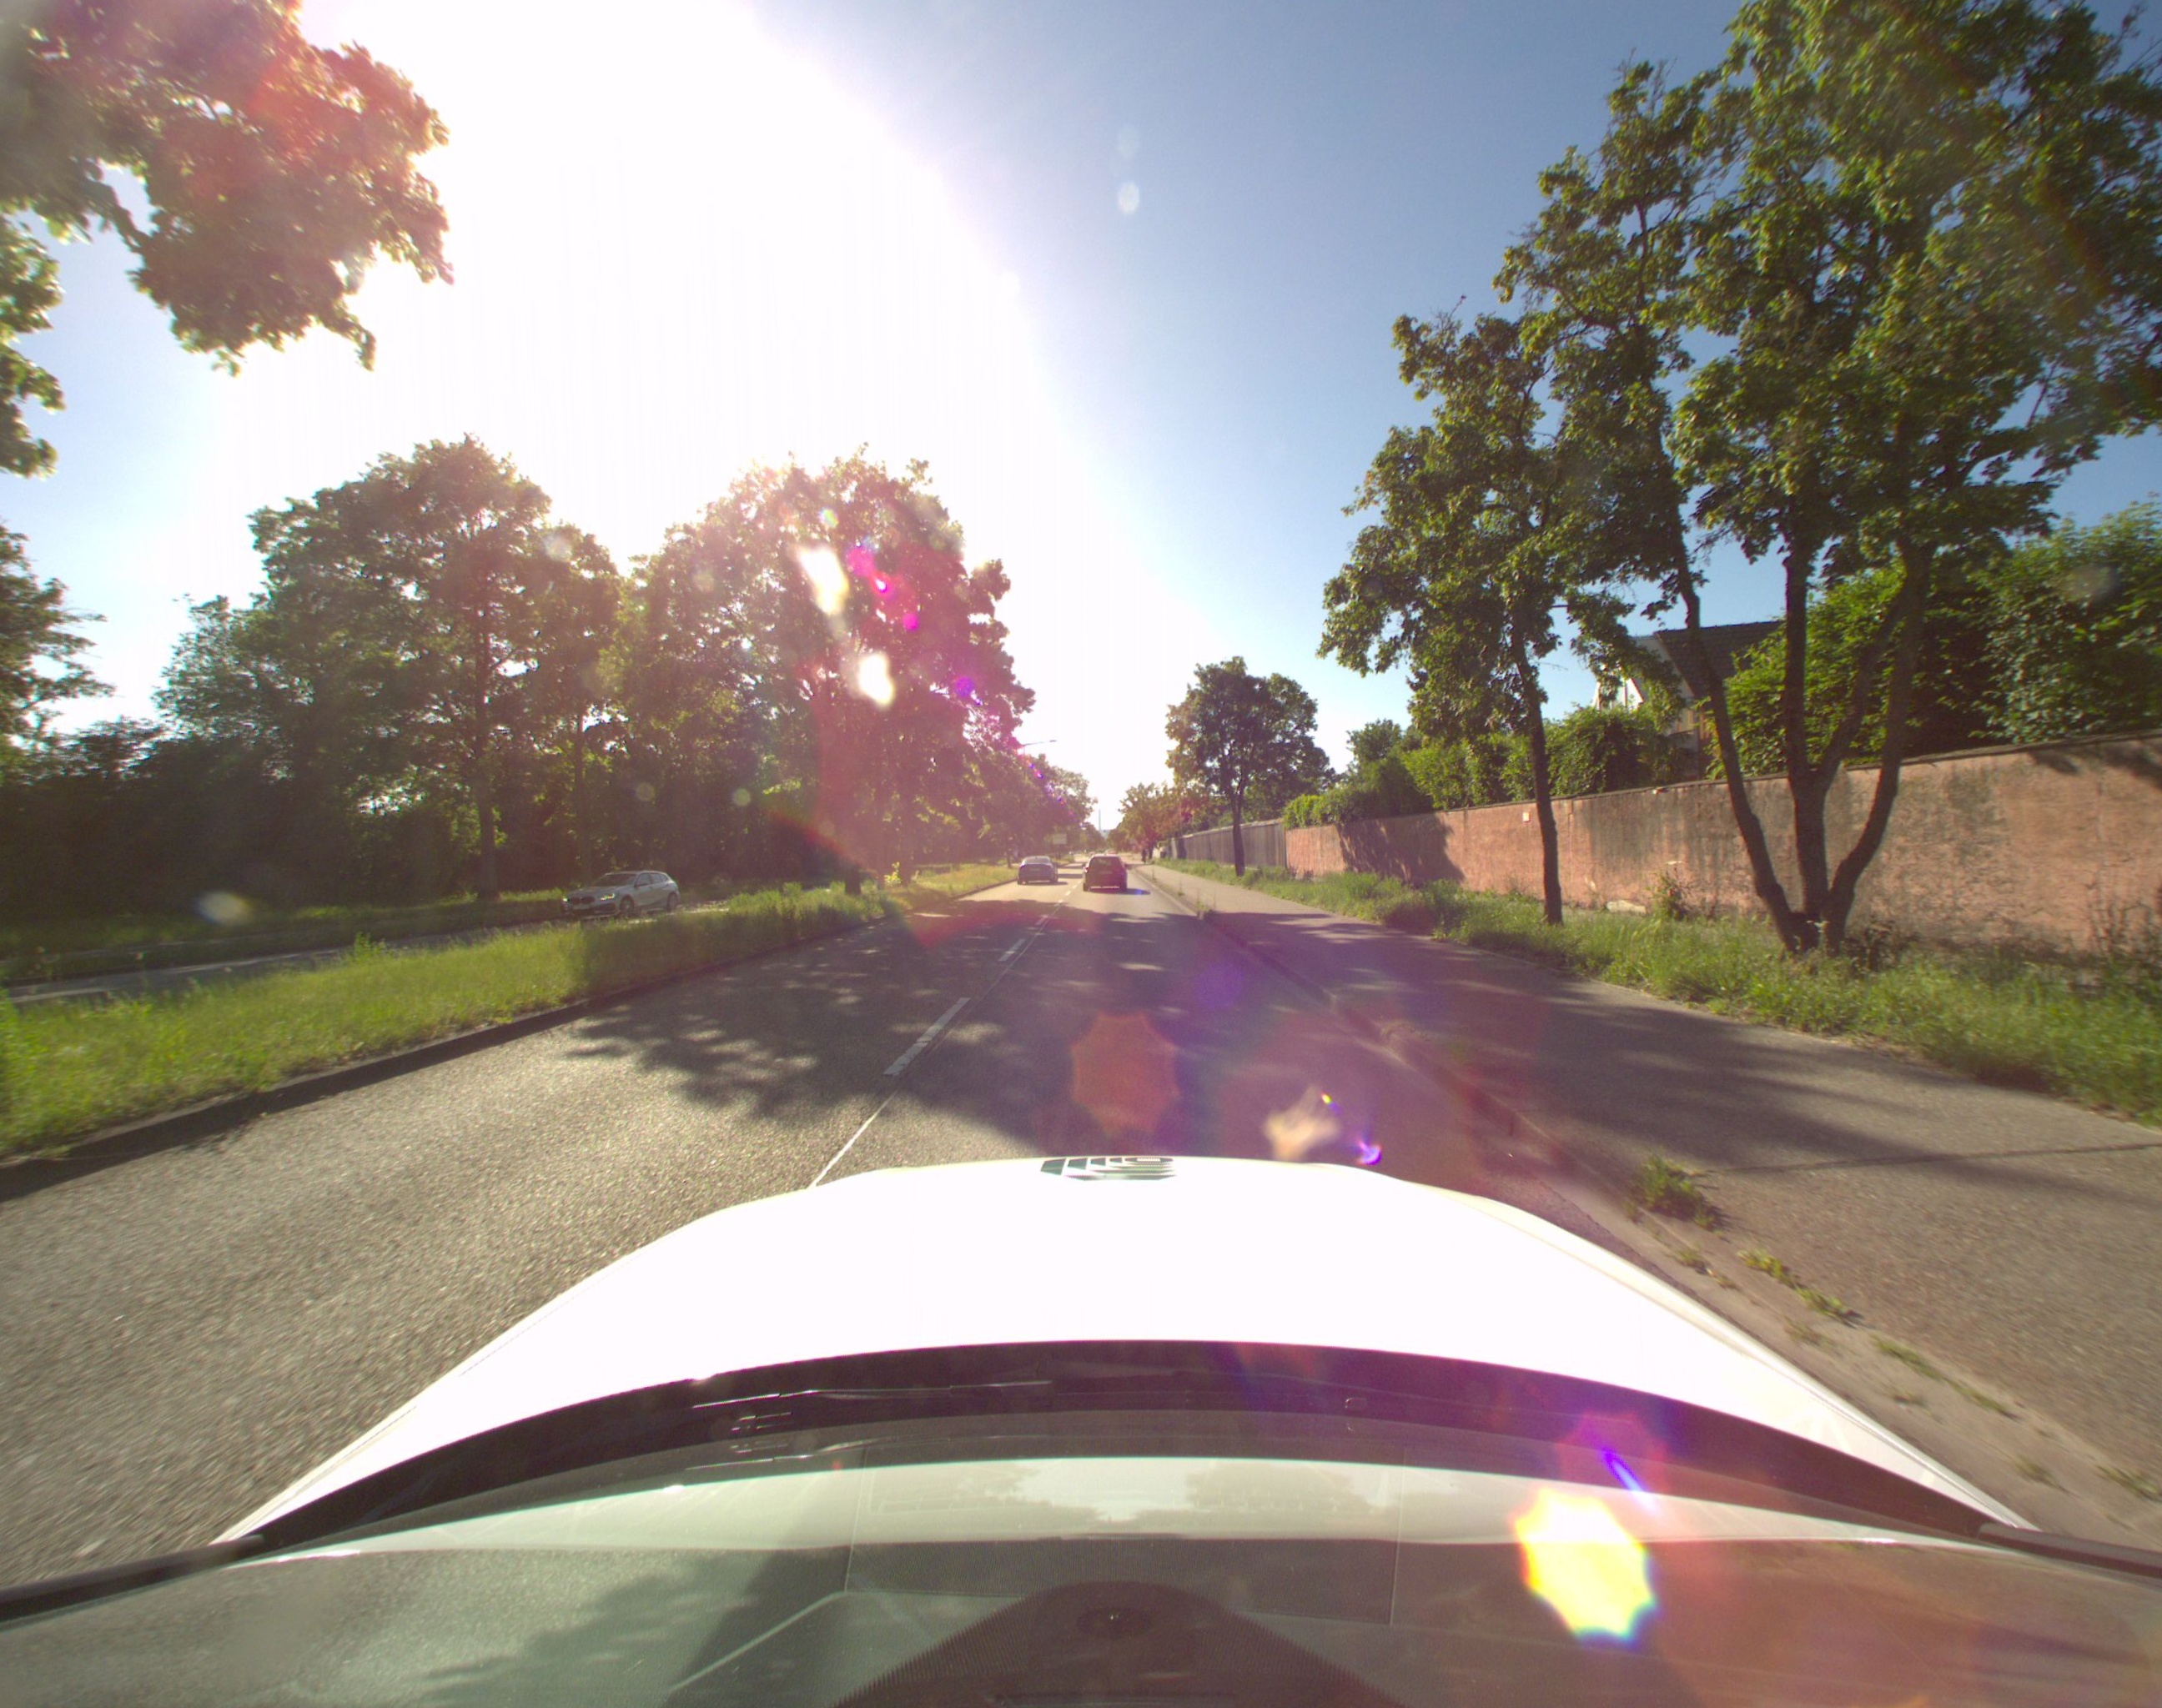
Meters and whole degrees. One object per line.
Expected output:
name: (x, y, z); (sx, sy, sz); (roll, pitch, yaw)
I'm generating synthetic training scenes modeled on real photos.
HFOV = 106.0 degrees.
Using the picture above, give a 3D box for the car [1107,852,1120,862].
car: (5.177, 0.510, 131.569); (1.971, 1.440, 4.001); (-2, 1, 1)

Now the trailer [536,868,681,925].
trailer: (-14.666, 1.254, 25.618); (1.734, 1.424, 4.499); (-3, 0, 2)

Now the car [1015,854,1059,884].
car: (-2.232, 0.747, 42.106); (1.988, 1.405, 3.999); (-1, 0, 0)

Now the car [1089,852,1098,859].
car: (2.920, 0.316, 195.724); (1.973, 1.440, 3.997); (-2, 1, -2)

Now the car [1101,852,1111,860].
car: (5.167, 0.391, 170.203); (1.971, 1.440, 4.001); (-2, 1, 1)

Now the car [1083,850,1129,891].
car: (1.049, 0.633, 33.271); (1.753, 1.559, 4.003); (0, 0, 3)

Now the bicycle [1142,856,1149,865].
bicycle: (6.838, 0.681, 86.722); (0.653, 0.892, 1.875); (-1, 0, 2)

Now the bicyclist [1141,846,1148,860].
bicyclist: (6.807, -0.102, 86.850); (0.678, 1.418, 0.812); (-1, 0, 1)
